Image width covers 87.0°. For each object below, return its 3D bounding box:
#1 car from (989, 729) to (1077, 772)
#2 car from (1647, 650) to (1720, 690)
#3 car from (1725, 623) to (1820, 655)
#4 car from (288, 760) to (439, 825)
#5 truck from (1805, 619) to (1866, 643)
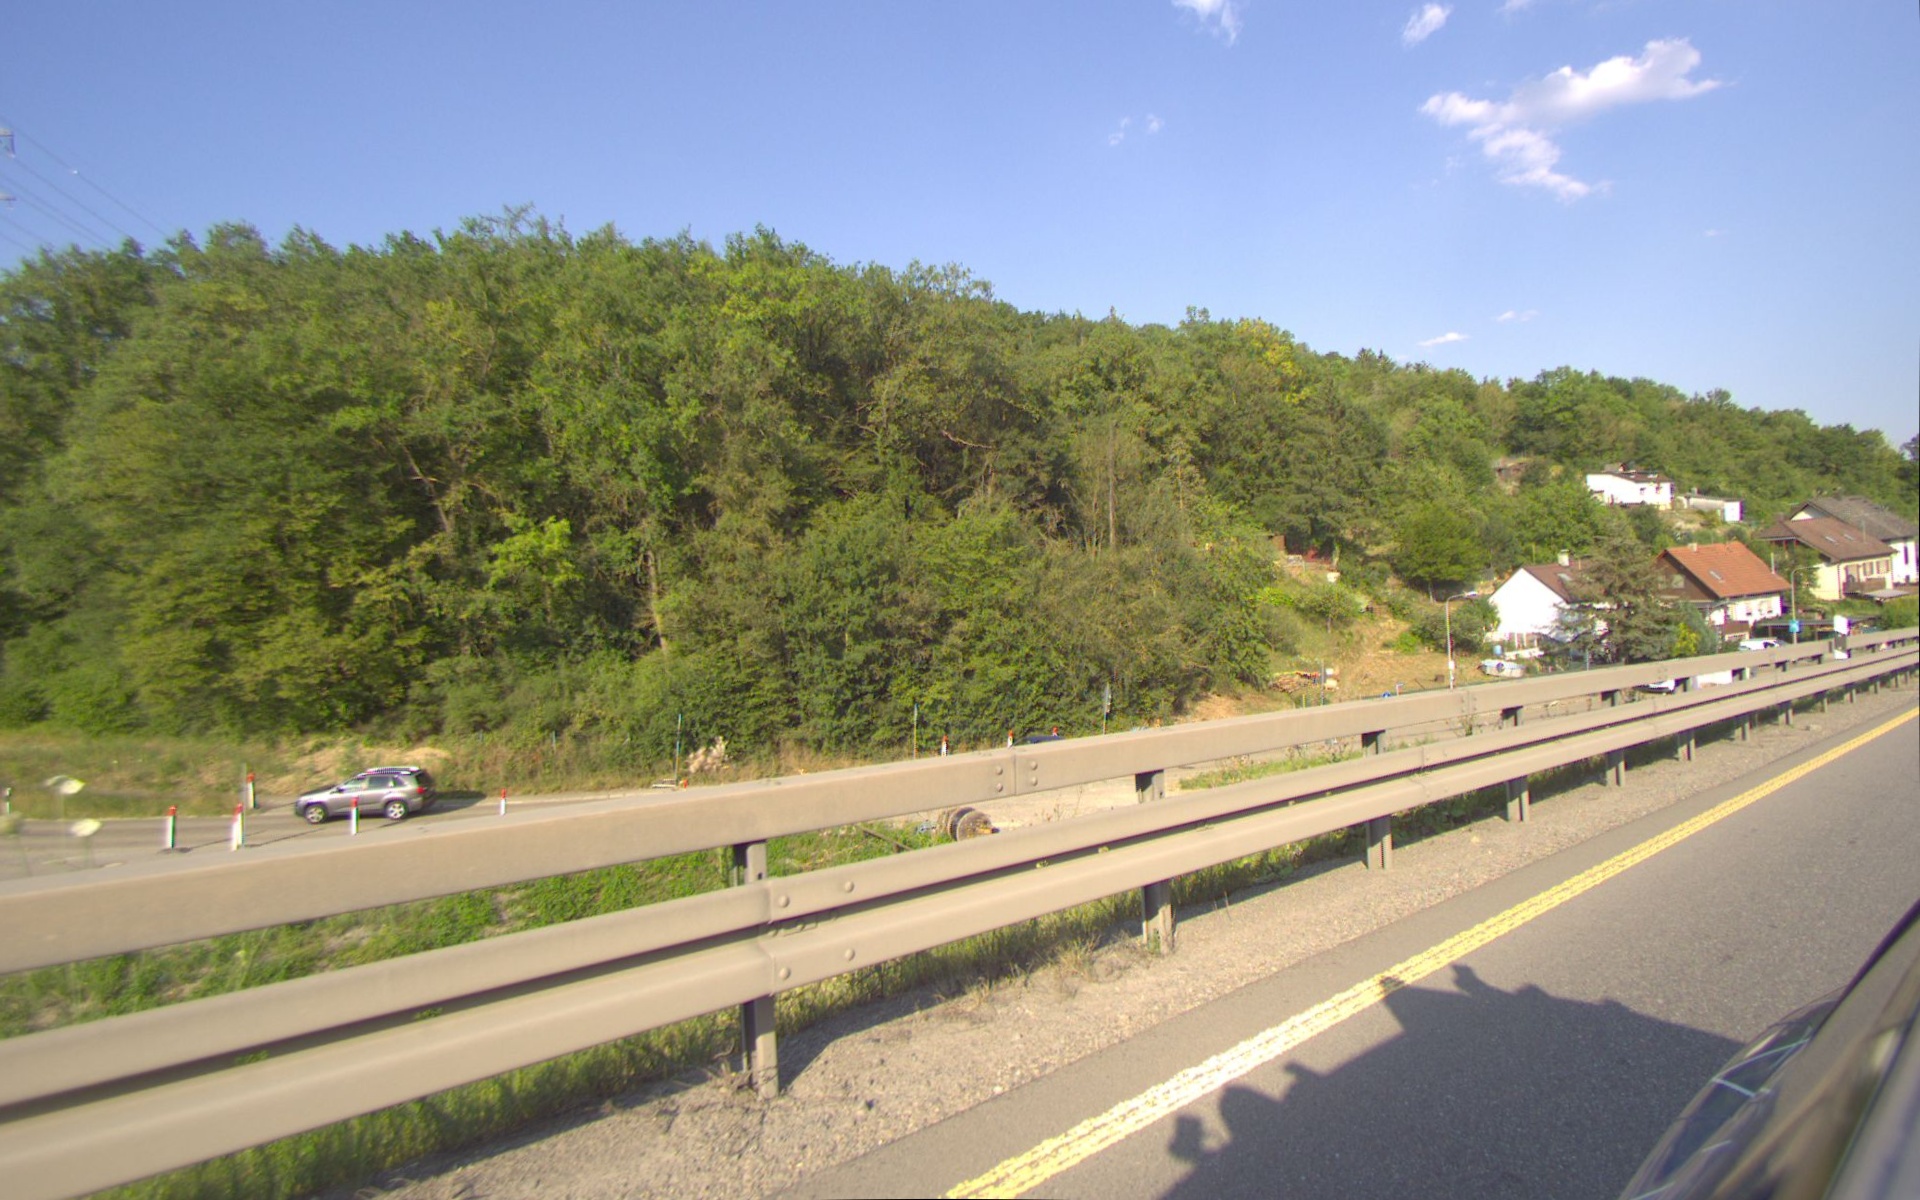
[{"bbox_3d":[3.305,6.808,45.970,3.541,1.619,1.776,0,-3,-19],"label":"car"},{"bbox_3d":[47.832,4.581,66.866,4.951,2.010,1.871,-4,3,-28],"label":"car"},{"bbox_3d":[64.339,3.035,80.279,1.960,2.292,5.491,-3,1,-28],"label":"car"},{"bbox_3d":[-21.830,7.018,37.200,4.404,1.807,1.872,-1,0,-13],"label":"car"},{"bbox_3d":[73.288,2.577,84.805,1.970,1.760,3.985,-7,-2,12],"label":"truck"}]
